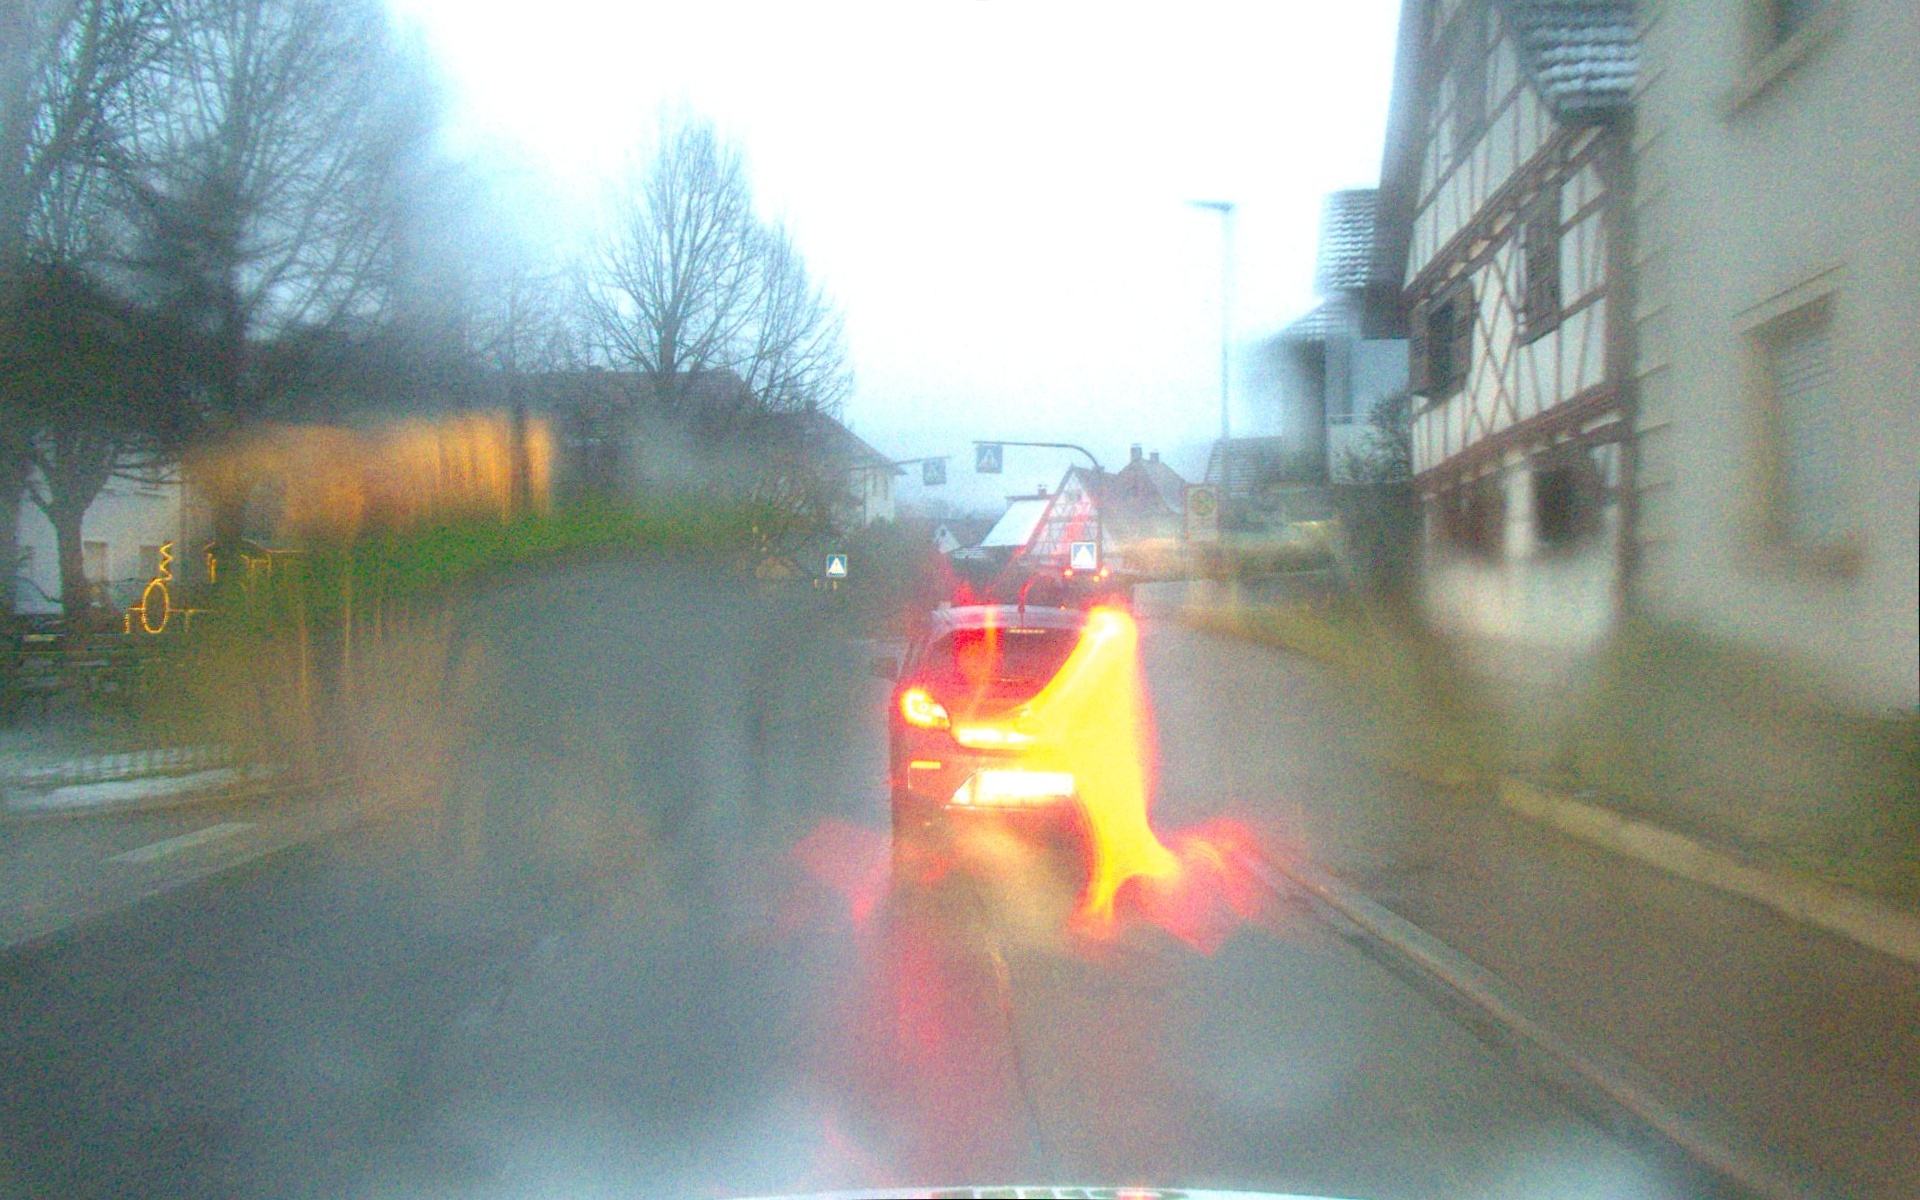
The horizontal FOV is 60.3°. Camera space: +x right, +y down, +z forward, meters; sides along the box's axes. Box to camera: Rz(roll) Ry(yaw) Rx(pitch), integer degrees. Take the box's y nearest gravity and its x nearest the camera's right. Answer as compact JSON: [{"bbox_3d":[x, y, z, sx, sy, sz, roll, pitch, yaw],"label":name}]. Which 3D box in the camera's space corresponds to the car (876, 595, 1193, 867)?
[{"bbox_3d":[0.416,0.729,11.273,1.758,1.502,4.000,1,0,0],"label":"car"}]

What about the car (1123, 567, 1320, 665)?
[{"bbox_3d":[5.513,0.346,35.146,3.956,1.875,1.865,-2,-1,7],"label":"car"}]

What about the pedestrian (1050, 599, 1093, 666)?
[{"bbox_3d":[3.070,0.884,45.532,0.861,1.765,0.956,-4,-1,20],"label":"pedestrian"}]

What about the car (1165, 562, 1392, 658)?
[{"bbox_3d":[7.215,0.223,37.568,4.874,1.922,1.939,-2,0,12],"label":"car"}]

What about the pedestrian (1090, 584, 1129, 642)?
[{"bbox_3d":[4.508,0.384,49.836,0.849,1.696,0.992,-4,-1,20],"label":"pedestrian"}]
